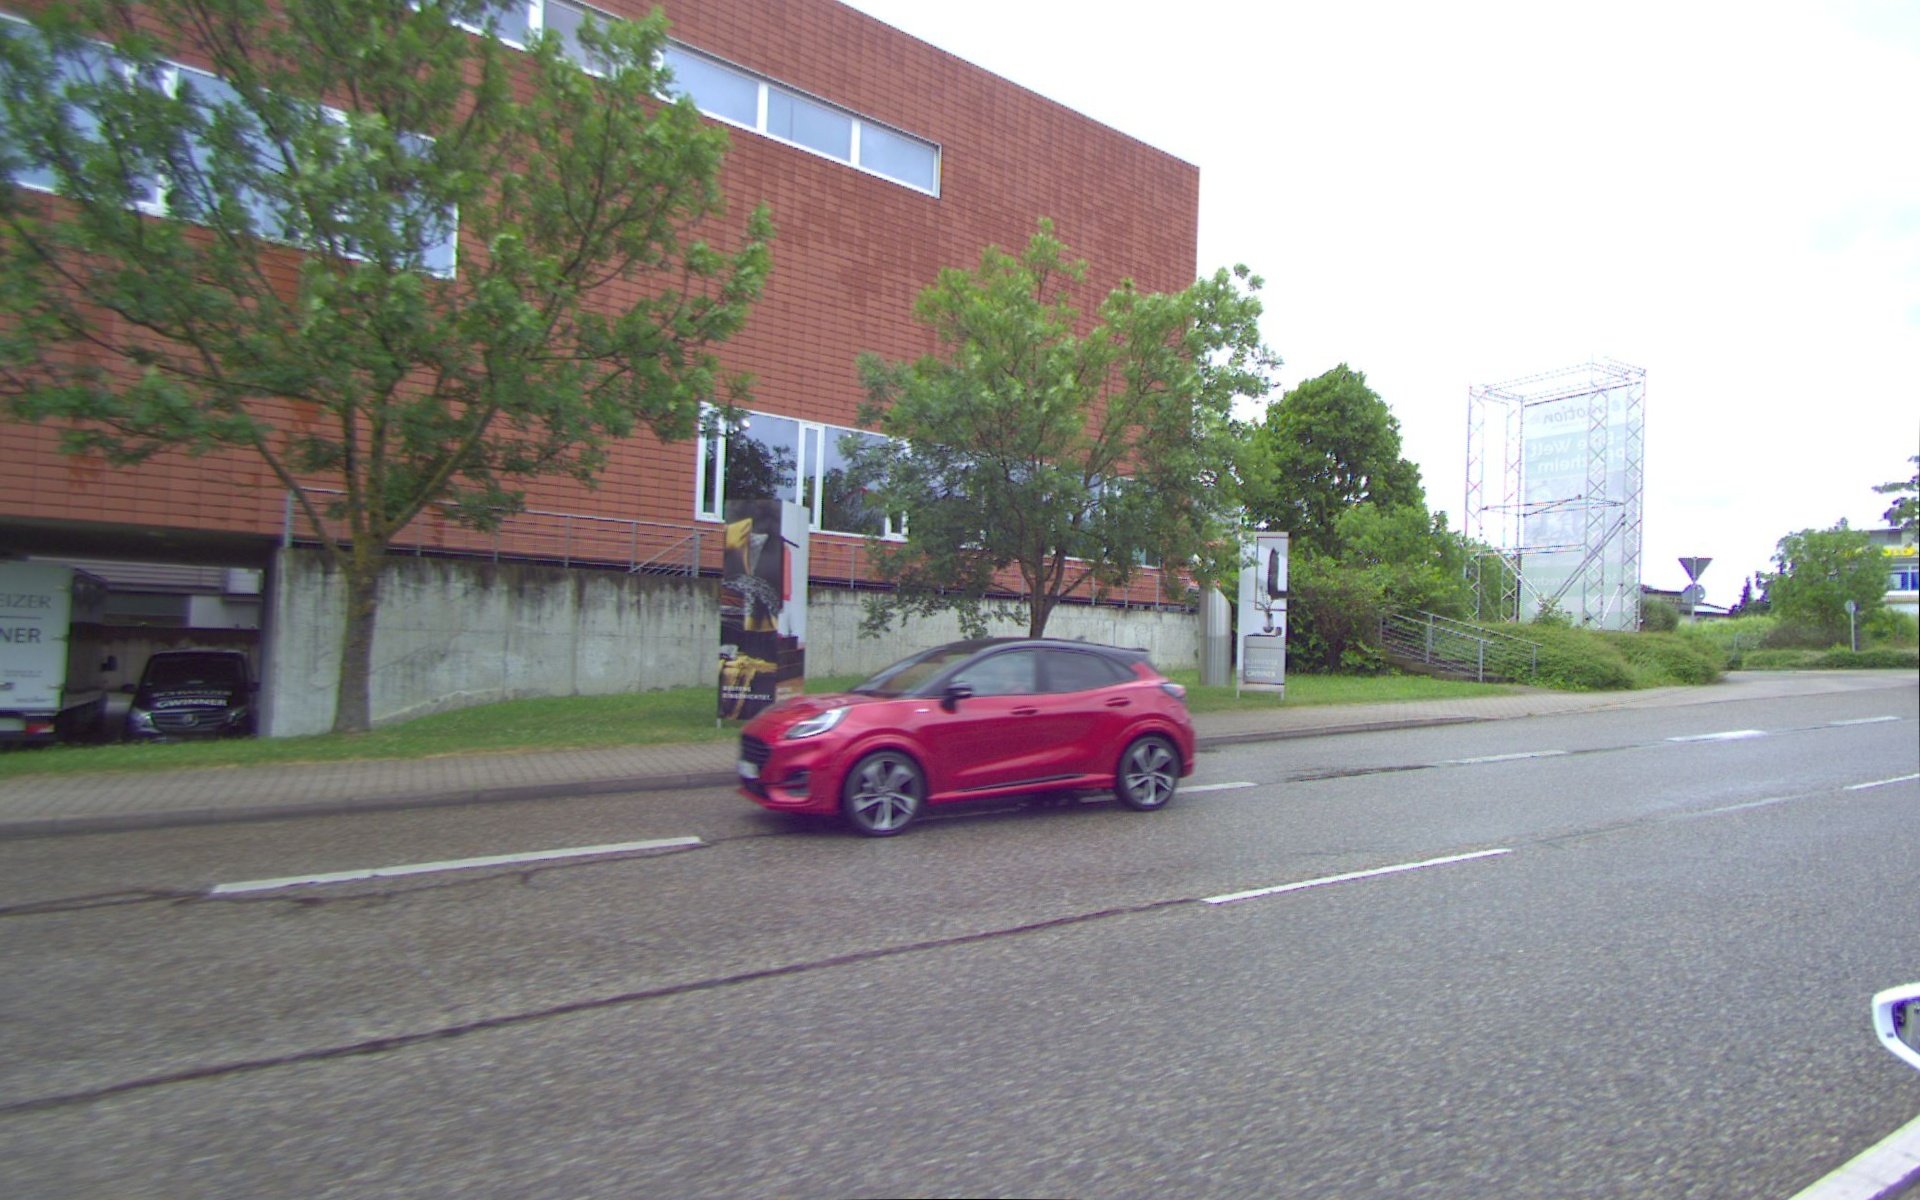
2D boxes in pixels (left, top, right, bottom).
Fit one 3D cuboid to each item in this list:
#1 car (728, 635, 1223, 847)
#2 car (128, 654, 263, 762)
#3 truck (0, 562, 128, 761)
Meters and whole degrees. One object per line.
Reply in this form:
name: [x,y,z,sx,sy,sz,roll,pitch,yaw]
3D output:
car: [0.200,1.086,8.995,4.163,1.526,1.670,1,-2,-28]
car: [-14.665,1.974,19.461,1.663,1.773,4.019,1,-2,-32]
truck: [-17.856,1.114,19.497,2.004,3.351,6.095,3,-3,-35]
